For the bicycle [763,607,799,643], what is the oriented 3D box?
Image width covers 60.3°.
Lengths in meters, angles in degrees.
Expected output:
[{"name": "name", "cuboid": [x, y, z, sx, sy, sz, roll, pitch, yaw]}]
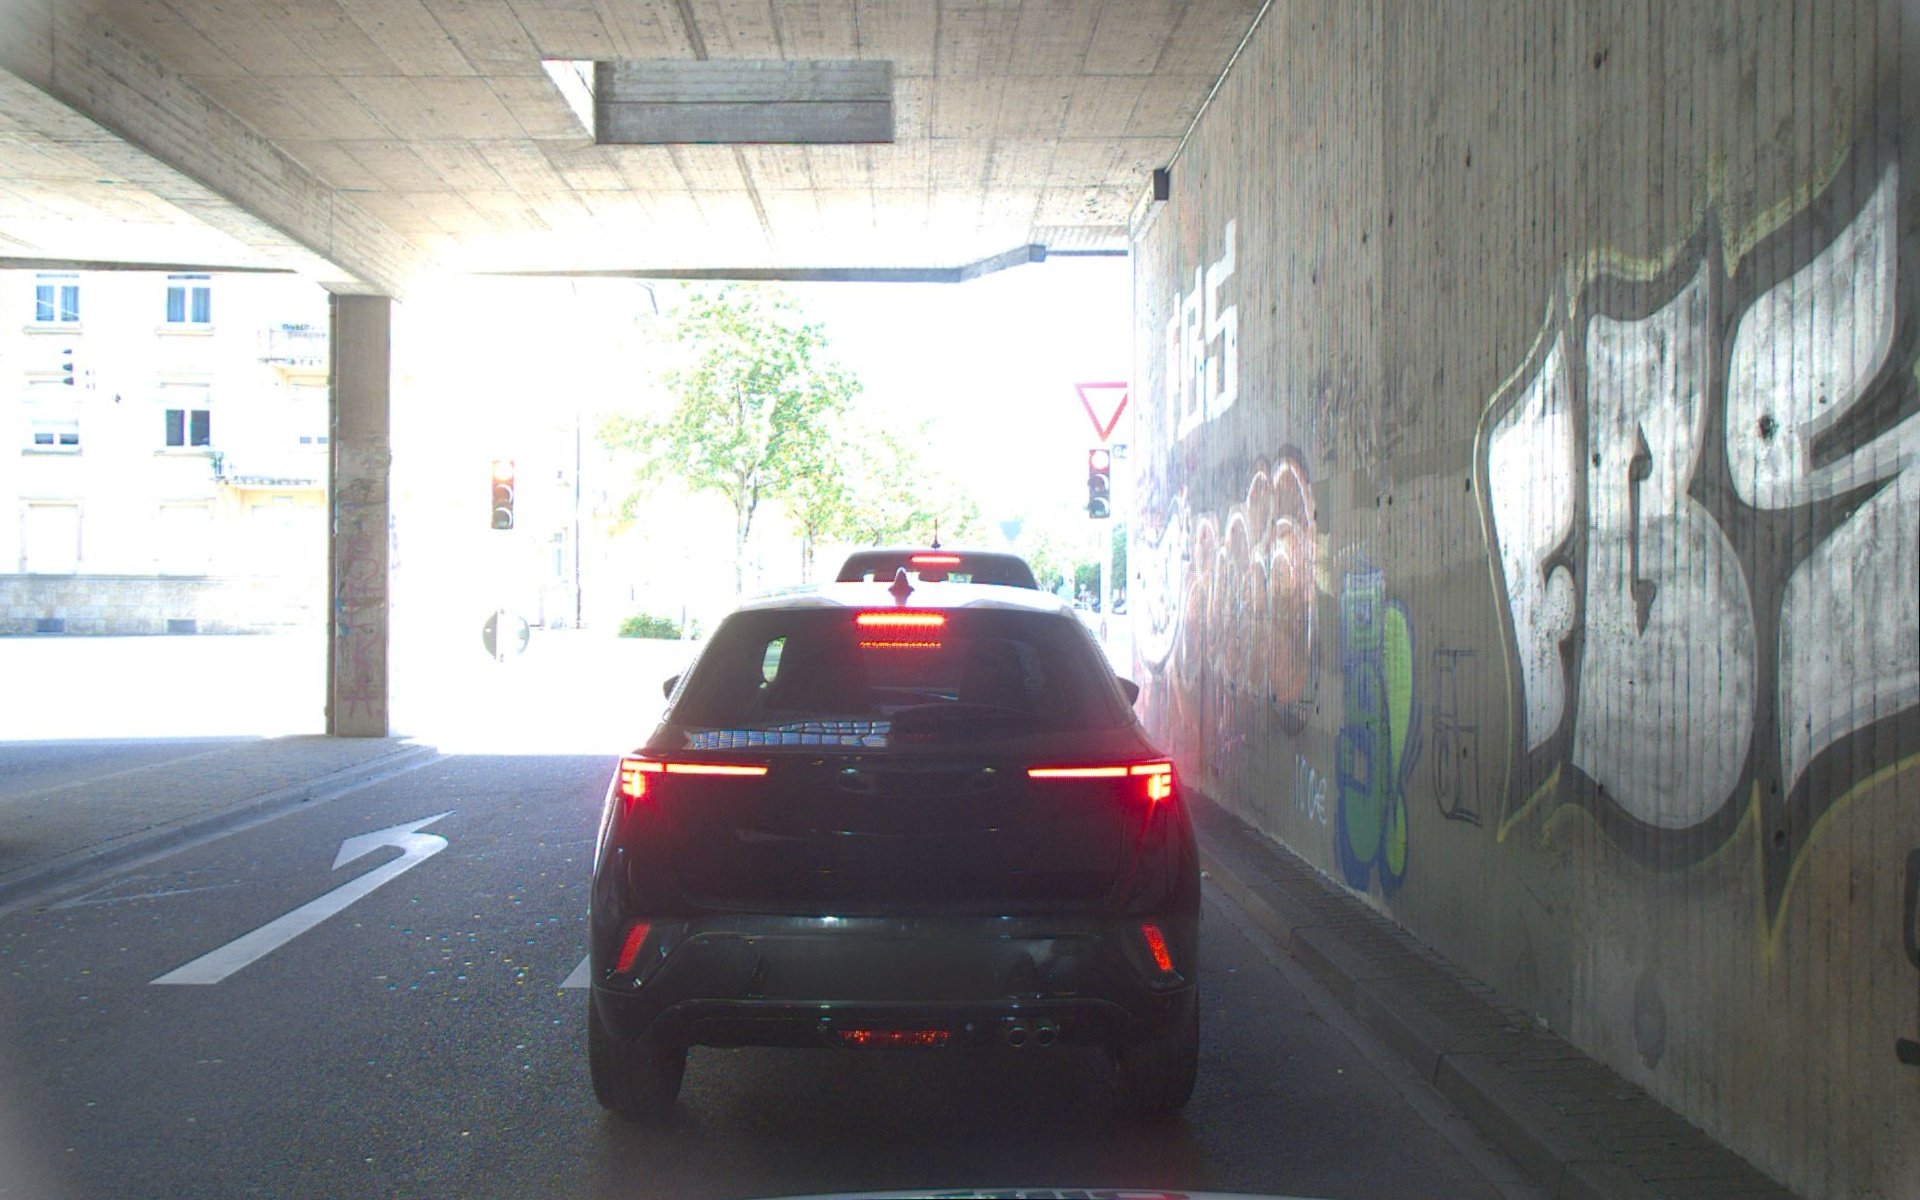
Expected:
[{"name": "bicycle", "cuboid": [-5.557, 0.769, 51.429, 0.716, 1.086, 1.690, 1, 0, 9]}]

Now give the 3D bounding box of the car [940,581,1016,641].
[{"name": "car", "cuboid": [0.497, 0.336, 44.185, 1.927, 1.523, 3.896, 0, -1, 1]}]

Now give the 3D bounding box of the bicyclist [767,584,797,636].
[{"name": "bicyclist", "cuboid": [-5.538, 0.304, 51.462, 0.713, 1.609, 0.815, 1, -1, 9]}]

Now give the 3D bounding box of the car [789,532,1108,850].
[{"name": "car", "cuboid": [-0.095, 0.533, 11.891, 1.906, 1.892, 3.963, 0, 0, -1]}]

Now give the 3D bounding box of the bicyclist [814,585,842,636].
[{"name": "bicyclist", "cuboid": [-4.219, 0.333, 52.910, 0.713, 1.609, 0.815, 1, -1, 9]}]

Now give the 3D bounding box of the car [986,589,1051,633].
[{"name": "car", "cuboid": [2.467, 0.485, 69.045, 2.173, 1.749, 4.463, 0, -1, 9]}]

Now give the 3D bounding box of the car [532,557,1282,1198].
[{"name": "car", "cuboid": [-0.154, 0.671, 6.067, 1.844, 1.565, 3.963, 0, 0, -1]}]

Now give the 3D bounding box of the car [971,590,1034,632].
[{"name": "car", "cuboid": [1.621, 0.442, 62.223, 1.926, 1.523, 3.899, 0, -1, 8]}]

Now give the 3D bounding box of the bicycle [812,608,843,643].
[{"name": "bicycle", "cuboid": [-4.230, 0.798, 52.876, 0.612, 1.086, 1.690, 1, 0, 9]}]
